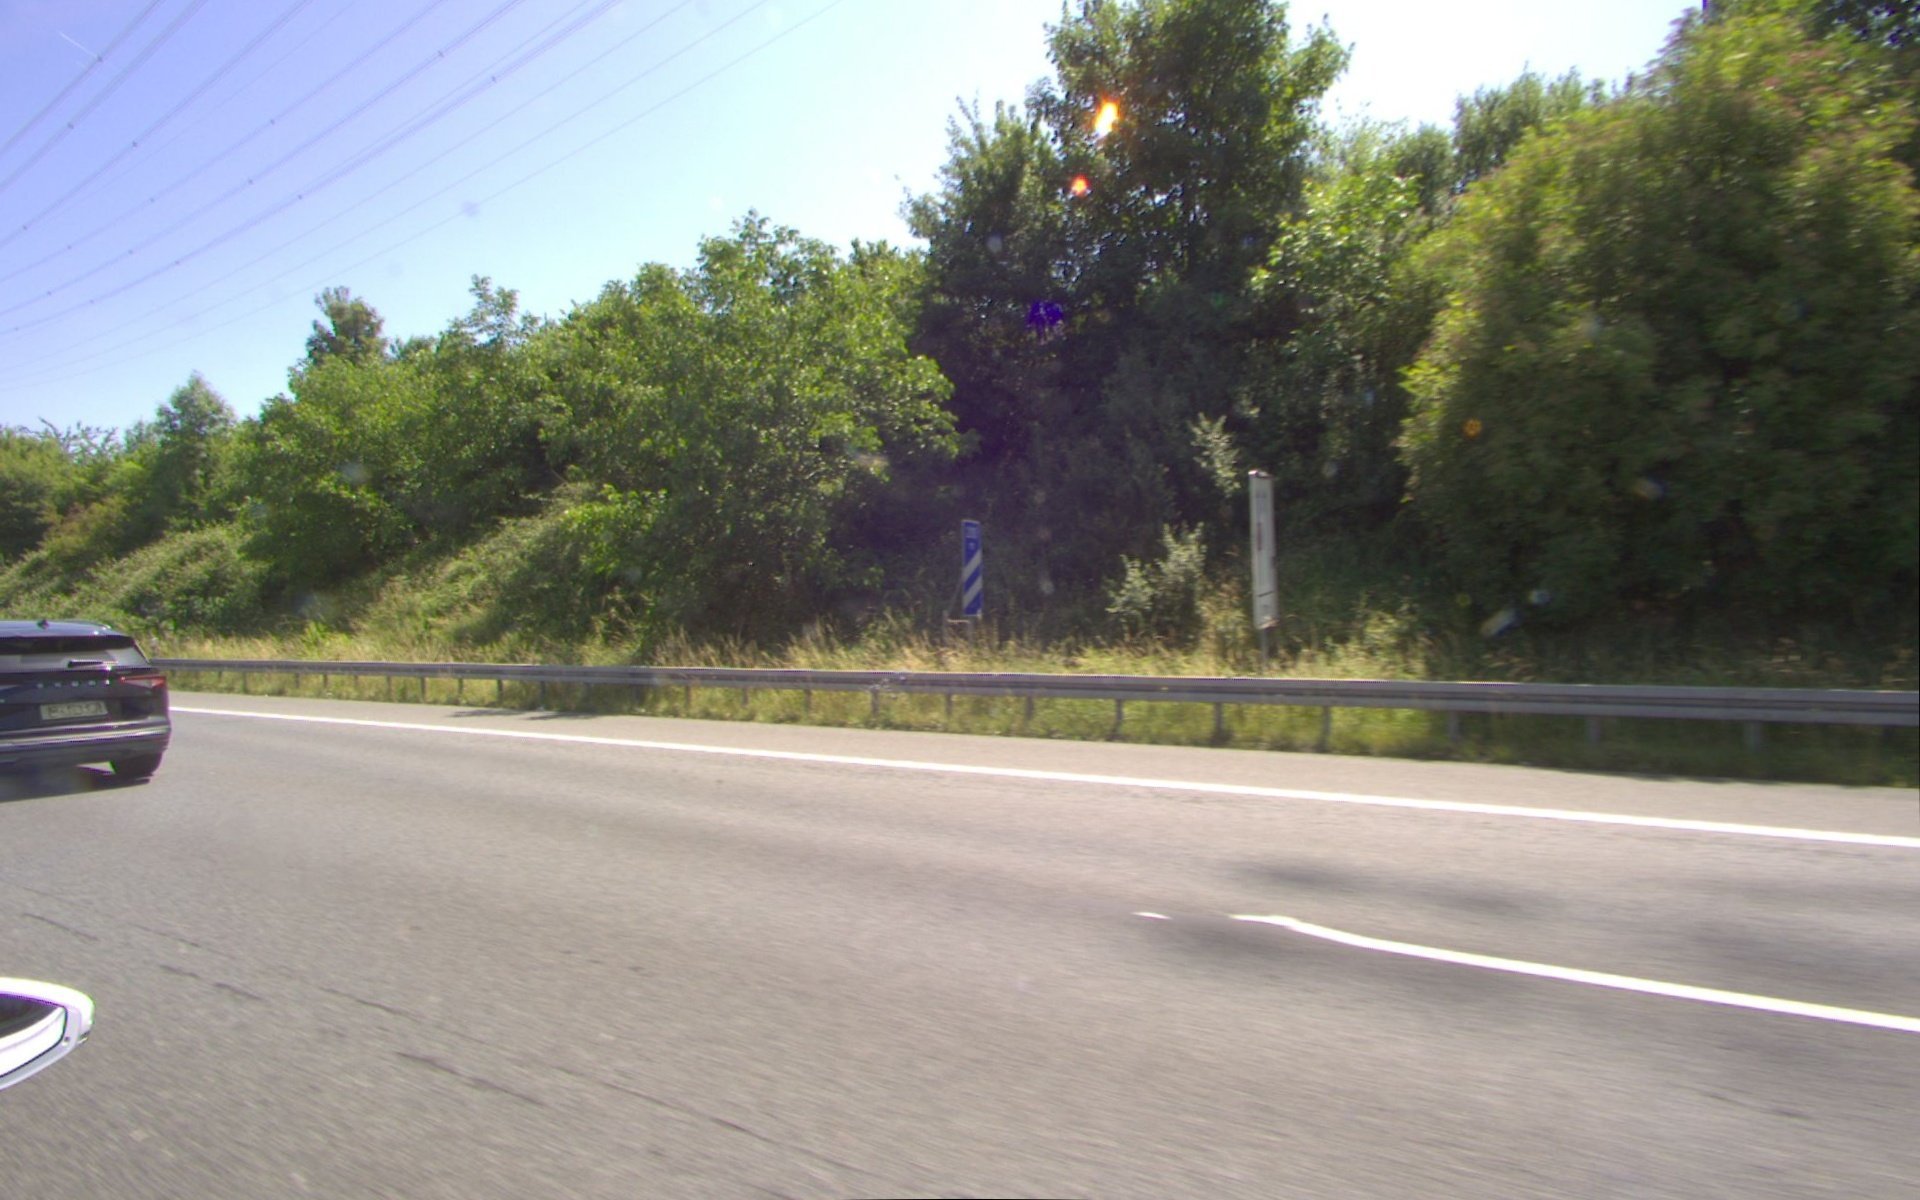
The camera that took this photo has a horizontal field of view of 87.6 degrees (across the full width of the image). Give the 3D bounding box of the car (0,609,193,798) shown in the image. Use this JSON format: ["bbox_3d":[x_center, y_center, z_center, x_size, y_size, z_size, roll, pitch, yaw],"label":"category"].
[{"bbox_3d":[-9.951,0.947,10.281,4.366,1.635,1.825,-1,-1,31],"label":"car"}]
